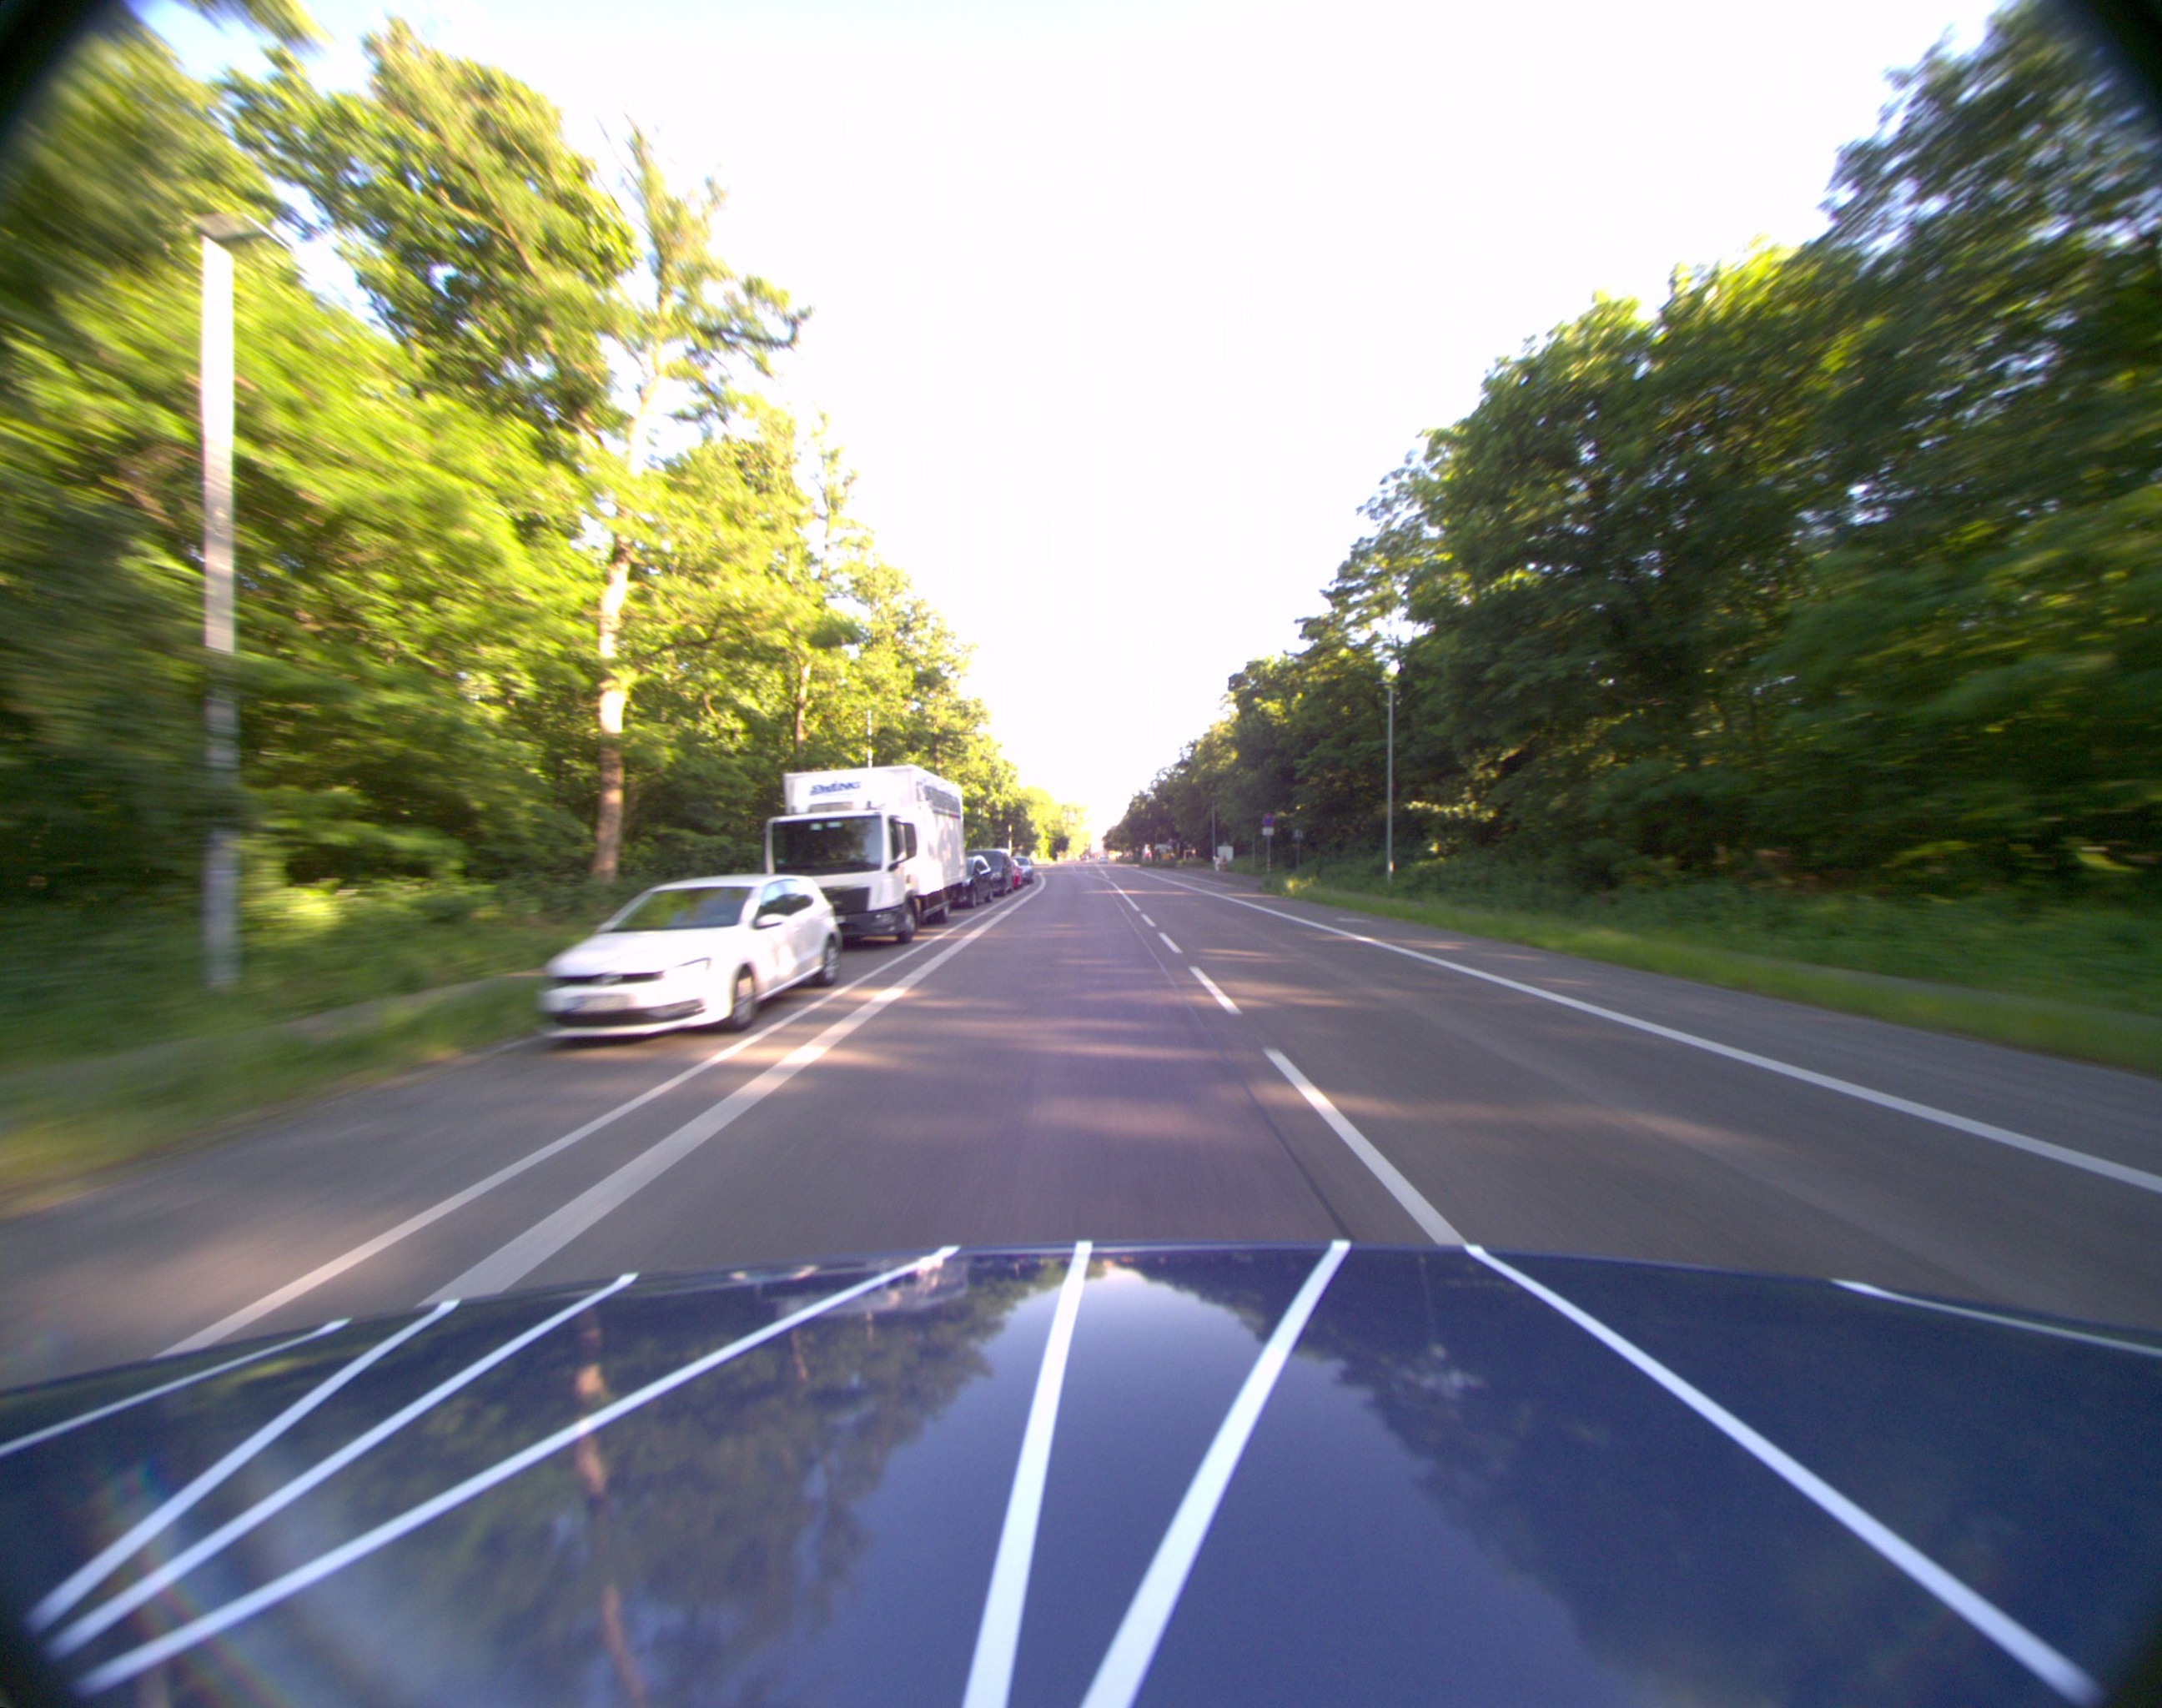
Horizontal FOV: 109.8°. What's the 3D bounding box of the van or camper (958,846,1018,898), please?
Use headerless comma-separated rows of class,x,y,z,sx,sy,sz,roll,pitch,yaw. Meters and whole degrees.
van or camper,-3.826,0.703,31.997,1.902,2.002,4.586,-1,0,1

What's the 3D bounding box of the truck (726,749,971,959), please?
truck,-4.495,-0.015,16.970,2.840,3.477,8.577,-1,0,0

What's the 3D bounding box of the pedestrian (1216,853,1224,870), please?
pedestrian,13.015,0.702,71.331,0.676,1.644,0.790,-1,1,5

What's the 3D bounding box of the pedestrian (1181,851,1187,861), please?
pedestrian,19.329,0.425,142.322,0.832,1.809,0.738,0,1,30

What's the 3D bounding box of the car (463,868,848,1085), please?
car,-3.983,1.008,8.028,1.716,1.559,4.000,-3,0,0

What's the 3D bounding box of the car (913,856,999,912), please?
car,-4.015,0.929,25.109,1.802,1.647,4.030,-1,0,6

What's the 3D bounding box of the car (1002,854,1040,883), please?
car,-3.478,0.801,44.399,1.803,1.585,4.029,-1,0,1

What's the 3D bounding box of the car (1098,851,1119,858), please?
car,5.673,0.061,156.931,3.951,1.517,1.826,-1,1,-40

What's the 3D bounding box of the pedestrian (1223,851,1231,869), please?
pedestrian,13.708,0.558,71.244,0.676,1.644,0.790,-1,1,5

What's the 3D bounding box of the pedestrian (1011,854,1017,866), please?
pedestrian,-10.338,0.875,117.609,0.809,1.789,0.734,-1,1,-1
